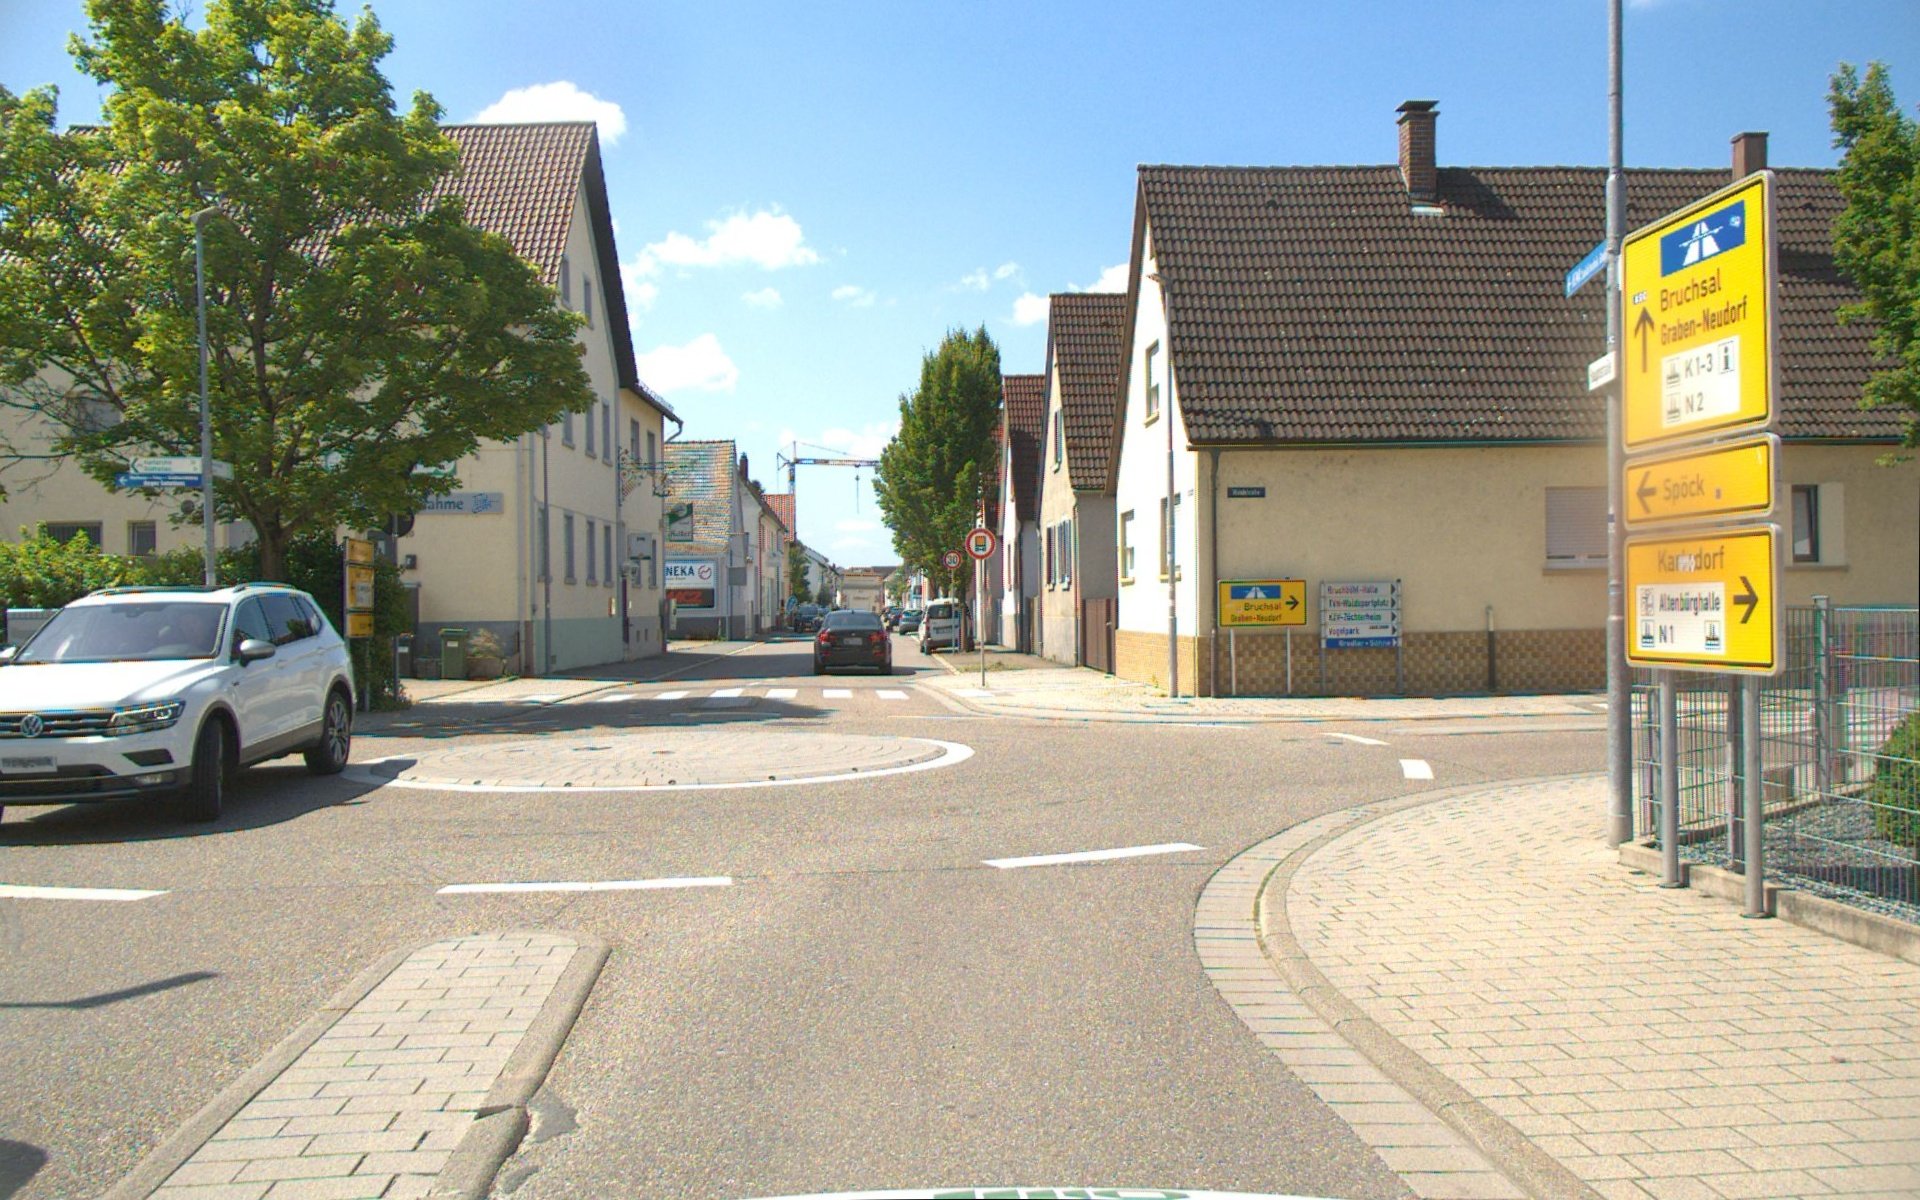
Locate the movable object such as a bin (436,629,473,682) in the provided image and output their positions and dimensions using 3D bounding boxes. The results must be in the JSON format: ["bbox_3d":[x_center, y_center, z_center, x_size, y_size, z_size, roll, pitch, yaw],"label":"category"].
[{"bbox_3d":[-10.958,1.195,35.833,0.587,1.097,0.658,-1,0,-1],"label":"movable object such as a bin"}]

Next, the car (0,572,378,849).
[{"bbox_3d":[-6.222,0.697,13.050,1.829,1.739,4.539,-2,1,-4],"label":"car"}]

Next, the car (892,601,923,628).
[{"bbox_3d":[-2.949,0.806,93.197,1.685,1.487,4.155,0,0,-2],"label":"car"}]

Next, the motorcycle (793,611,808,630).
[{"bbox_3d":[-9.954,1.267,103.347,0.829,1.190,2.467,1,-1,-5],"label":"motorcycle"}]

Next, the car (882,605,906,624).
[{"bbox_3d":[-4.844,1.036,121.576,1.685,1.379,4.154,0,0,-3],"label":"car"}]

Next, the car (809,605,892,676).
[{"bbox_3d":[-2.574,0.929,39.863,1.864,1.591,4.474,0,0,-2],"label":"car"}]

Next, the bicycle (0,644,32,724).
[{"bbox_3d":[-13.480,1.179,23.108,0.393,1.021,1.975,-1,2,-15],"label":"bicycle"}]

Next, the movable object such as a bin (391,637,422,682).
[{"bbox_3d":[-11.947,1.285,35.695,0.469,0.944,0.547,-1,0,-1],"label":"movable object such as a bin"}]

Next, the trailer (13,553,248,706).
[{"bbox_3d":[-13.908,0.469,28.066,1.841,2.376,4.521,1,0,-3],"label":"trailer"}]

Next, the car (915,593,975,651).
[{"bbox_3d":[-0.539,0.734,56.657,1.686,1.821,4.139,-2,0,-5],"label":"car"}]

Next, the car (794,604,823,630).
[{"bbox_3d":[-9.837,1.096,107.332,1.773,1.617,3.997,0,0,-4],"label":"car"}]

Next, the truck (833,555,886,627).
[{"bbox_3d":[-6.303,-0.474,105.154,3.081,4.325,9.297,1,-1,-2],"label":"truck"}]
